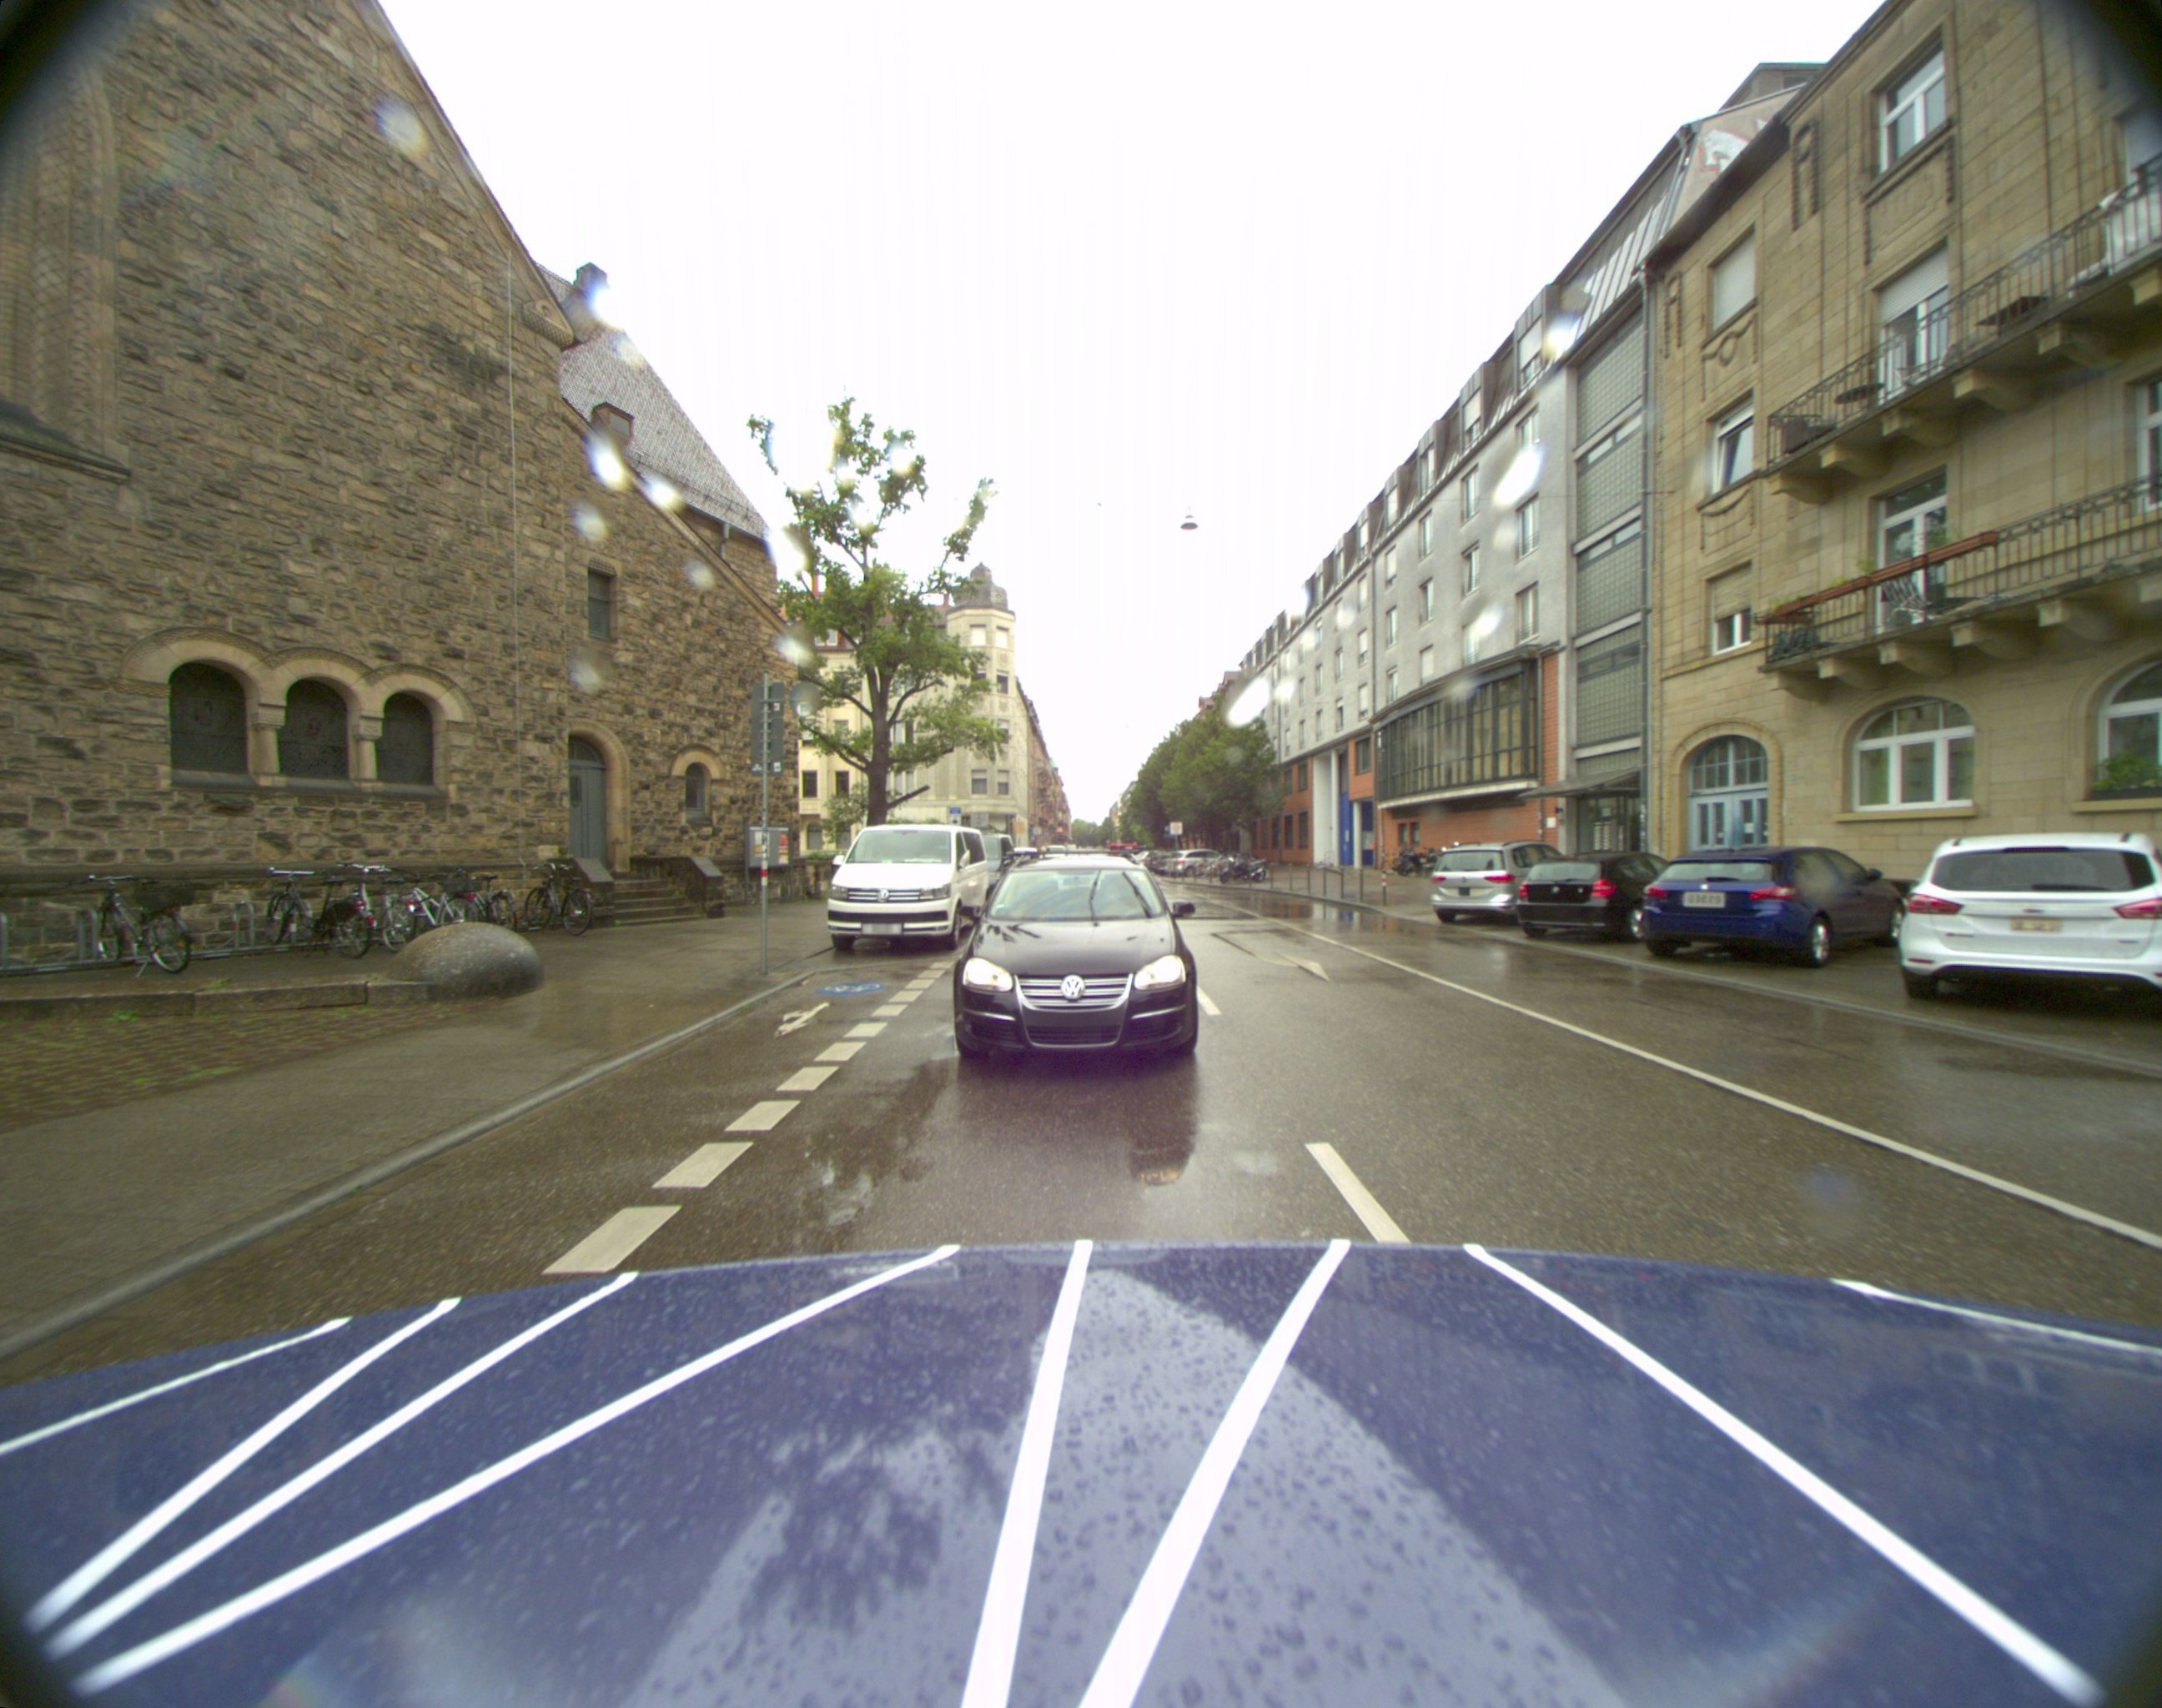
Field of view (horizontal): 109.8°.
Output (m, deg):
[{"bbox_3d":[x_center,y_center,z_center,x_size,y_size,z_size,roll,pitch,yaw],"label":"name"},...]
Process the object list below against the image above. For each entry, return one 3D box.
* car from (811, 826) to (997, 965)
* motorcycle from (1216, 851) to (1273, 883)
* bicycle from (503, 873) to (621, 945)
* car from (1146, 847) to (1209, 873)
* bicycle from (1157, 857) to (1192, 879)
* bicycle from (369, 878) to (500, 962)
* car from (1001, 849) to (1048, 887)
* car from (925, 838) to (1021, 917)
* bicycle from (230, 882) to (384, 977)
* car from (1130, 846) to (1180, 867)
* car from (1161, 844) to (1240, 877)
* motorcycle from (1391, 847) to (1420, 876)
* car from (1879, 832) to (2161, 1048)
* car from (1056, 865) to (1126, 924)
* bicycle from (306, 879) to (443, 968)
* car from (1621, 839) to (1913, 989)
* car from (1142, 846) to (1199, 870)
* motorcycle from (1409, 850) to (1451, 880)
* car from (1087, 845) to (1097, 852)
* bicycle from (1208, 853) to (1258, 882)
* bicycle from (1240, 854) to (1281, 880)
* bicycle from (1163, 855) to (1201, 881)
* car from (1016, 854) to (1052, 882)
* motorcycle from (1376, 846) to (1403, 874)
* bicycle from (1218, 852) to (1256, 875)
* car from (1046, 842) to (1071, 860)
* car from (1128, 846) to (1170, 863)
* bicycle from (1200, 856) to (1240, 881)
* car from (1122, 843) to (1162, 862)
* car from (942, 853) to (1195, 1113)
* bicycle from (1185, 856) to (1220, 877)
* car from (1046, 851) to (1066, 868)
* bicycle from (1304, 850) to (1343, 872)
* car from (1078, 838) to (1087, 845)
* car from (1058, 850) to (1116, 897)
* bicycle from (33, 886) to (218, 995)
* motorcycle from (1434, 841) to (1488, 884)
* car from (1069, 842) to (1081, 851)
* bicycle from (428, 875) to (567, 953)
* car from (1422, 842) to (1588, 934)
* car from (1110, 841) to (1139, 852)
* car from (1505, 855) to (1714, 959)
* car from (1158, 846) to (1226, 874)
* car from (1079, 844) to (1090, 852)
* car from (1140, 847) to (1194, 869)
[{"bbox_3d":[-2.740,0.545,13.164,1.909,1.911,5.272,0,1,1],"label":"car"},{"bbox_3d":[7.117,0.564,33.121,2.255,1.302,0.758,-2,1,1],"label":"motorcycle"},{"bbox_3d":[-8.442,0.860,12.342,1.978,1.060,0.607,1,1,23],"label":"bicycle"},{"bbox_3d":[6.463,0.365,51.012,3.803,1.705,1.998,0,1,-9],"label":"car"},{"bbox_3d":[4.891,0.717,39.782,1.688,1.067,0.544,2,1,-2],"label":"bicycle"},{"bbox_3d":[-9.139,0.894,10.734,1.923,1.054,0.582,1,1,22],"label":"bicycle"},{"bbox_3d":[-2.389,0.547,33.015,1.674,1.541,3.918,0,1,1],"label":"car"},{"bbox_3d":[-2.669,0.516,19.773,1.837,1.835,4.295,0,1,1],"label":"car"},{"bbox_3d":[-9.694,0.904,9.511,1.924,1.054,0.582,0,1,20],"label":"bicycle"},{"bbox_3d":[6.202,0.227,63.907,3.803,1.705,1.998,0,1,-9],"label":"car"},{"bbox_3d":[6.787,0.326,43.217,4.005,1.804,1.995,0,1,-26],"label":"car"},{"bbox_3d":[13.667,0.303,32.052,0.546,1.221,1.676,0,1,1],"label":"motorcycle"},{"bbox_3d":[9.567,0.660,7.577,3.734,1.617,1.774,-3,1,-37],"label":"car"},{"bbox_3d":[0.243,0.917,18.598,1.547,1.214,3.607,0,1,1],"label":"car"},{"bbox_3d":[-9.453,0.897,10.158,1.923,1.054,0.582,1,1,22],"label":"bicycle"},{"bbox_3d":[9.409,0.662,10.393,3.732,1.519,1.897,-4,3,-30],"label":"car"},{"bbox_3d":[6.646,0.296,56.598,3.803,1.705,1.998,0,1,-9],"label":"car"},{"bbox_3d":[13.662,0.412,29.840,0.599,1.095,2.362,0,1,1],"label":"motorcycle"},{"bbox_3d":[2.561,-1.329,179.157,1.998,1.705,4.376,0,1,5],"label":"car"},{"bbox_3d":[6.814,0.611,34.093,2.049,1.165,0.773,-3,1,-2],"label":"bicycle"},{"bbox_3d":[8.273,0.590,35.034,1.688,1.067,0.544,-3,1,-2],"label":"bicycle"},{"bbox_3d":[4.861,0.674,36.581,1.687,1.067,0.544,-5,1,-2],"label":"bicycle"},{"bbox_3d":[-2.356,0.675,38.618,1.558,1.285,3.662,0,1,1],"label":"car"},{"bbox_3d":[13.701,0.269,33.818,0.546,1.221,1.676,0,1,1],"label":"motorcycle"},{"bbox_3d":[7.357,0.425,35.808,1.688,1.067,0.544,0,1,-2],"label":"bicycle"},{"bbox_3d":[-1.874,-0.276,65.274,1.921,1.470,4.220,0,1,1],"label":"car"},{"bbox_3d":[6.805,0.019,75.846,3.803,1.705,1.904,0,1,-9],"label":"car"},{"bbox_3d":[6.417,0.652,35.057,1.688,1.067,0.544,-3,1,-2],"label":"bicycle"},{"bbox_3d":[6.735,-0.166,84.279,4.006,2.002,1.995,0,1,-27],"label":"car"},{"bbox_3d":[-0.051,0.790,6.699,1.547,1.553,4.070,0,1,1],"label":"car"},{"bbox_3d":[6.213,0.640,38.823,1.688,1.067,0.544,-1,1,-2],"label":"bicycle"},{"bbox_3d":[-1.874,0.407,58.141,1.356,1.285,3.013,0,1,1],"label":"car"},{"bbox_3d":[13.615,0.367,42.662,1.901,1.217,0.938,1,1,26],"label":"bicycle"},{"bbox_3d":[0.299,-3.080,187.429,1.837,1.827,4.001,0,1,5],"label":"car"},{"bbox_3d":[0.211,0.582,24.948,1.766,1.430,3.748,0,1,1],"label":"car"},{"bbox_3d":[-10.454,0.907,8.311,2.005,1.043,0.577,0,1,18],"label":"bicycle"},{"bbox_3d":[13.567,0.283,27.211,0.777,1.455,2.362,0,1,1],"label":"motorcycle"},{"bbox_3d":[-1.062,-1.373,142.979,1.998,1.705,3.803,0,1,5],"label":"car"},{"bbox_3d":[-8.823,0.867,11.478,2.150,1.054,0.679,1,1,22],"label":"bicycle"},{"bbox_3d":[9.057,0.610,16.112,3.931,1.720,1.811,0,1,-41],"label":"car"},{"bbox_3d":[6.478,-1.094,112.031,3.809,1.705,1.995,0,1,-33],"label":"car"},{"bbox_3d":[9.113,0.789,13.033,3.734,1.519,1.713,0,1,-34],"label":"car"},{"bbox_3d":[6.956,0.374,47.933,3.803,1.705,1.998,0,1,-9],"label":"car"},{"bbox_3d":[0.768,-1.221,164.417,1.998,1.705,4.376,0,1,5],"label":"car"},{"bbox_3d":[6.778,0.281,60.016,3.803,1.705,1.998,0,1,-9],"label":"car"}]
